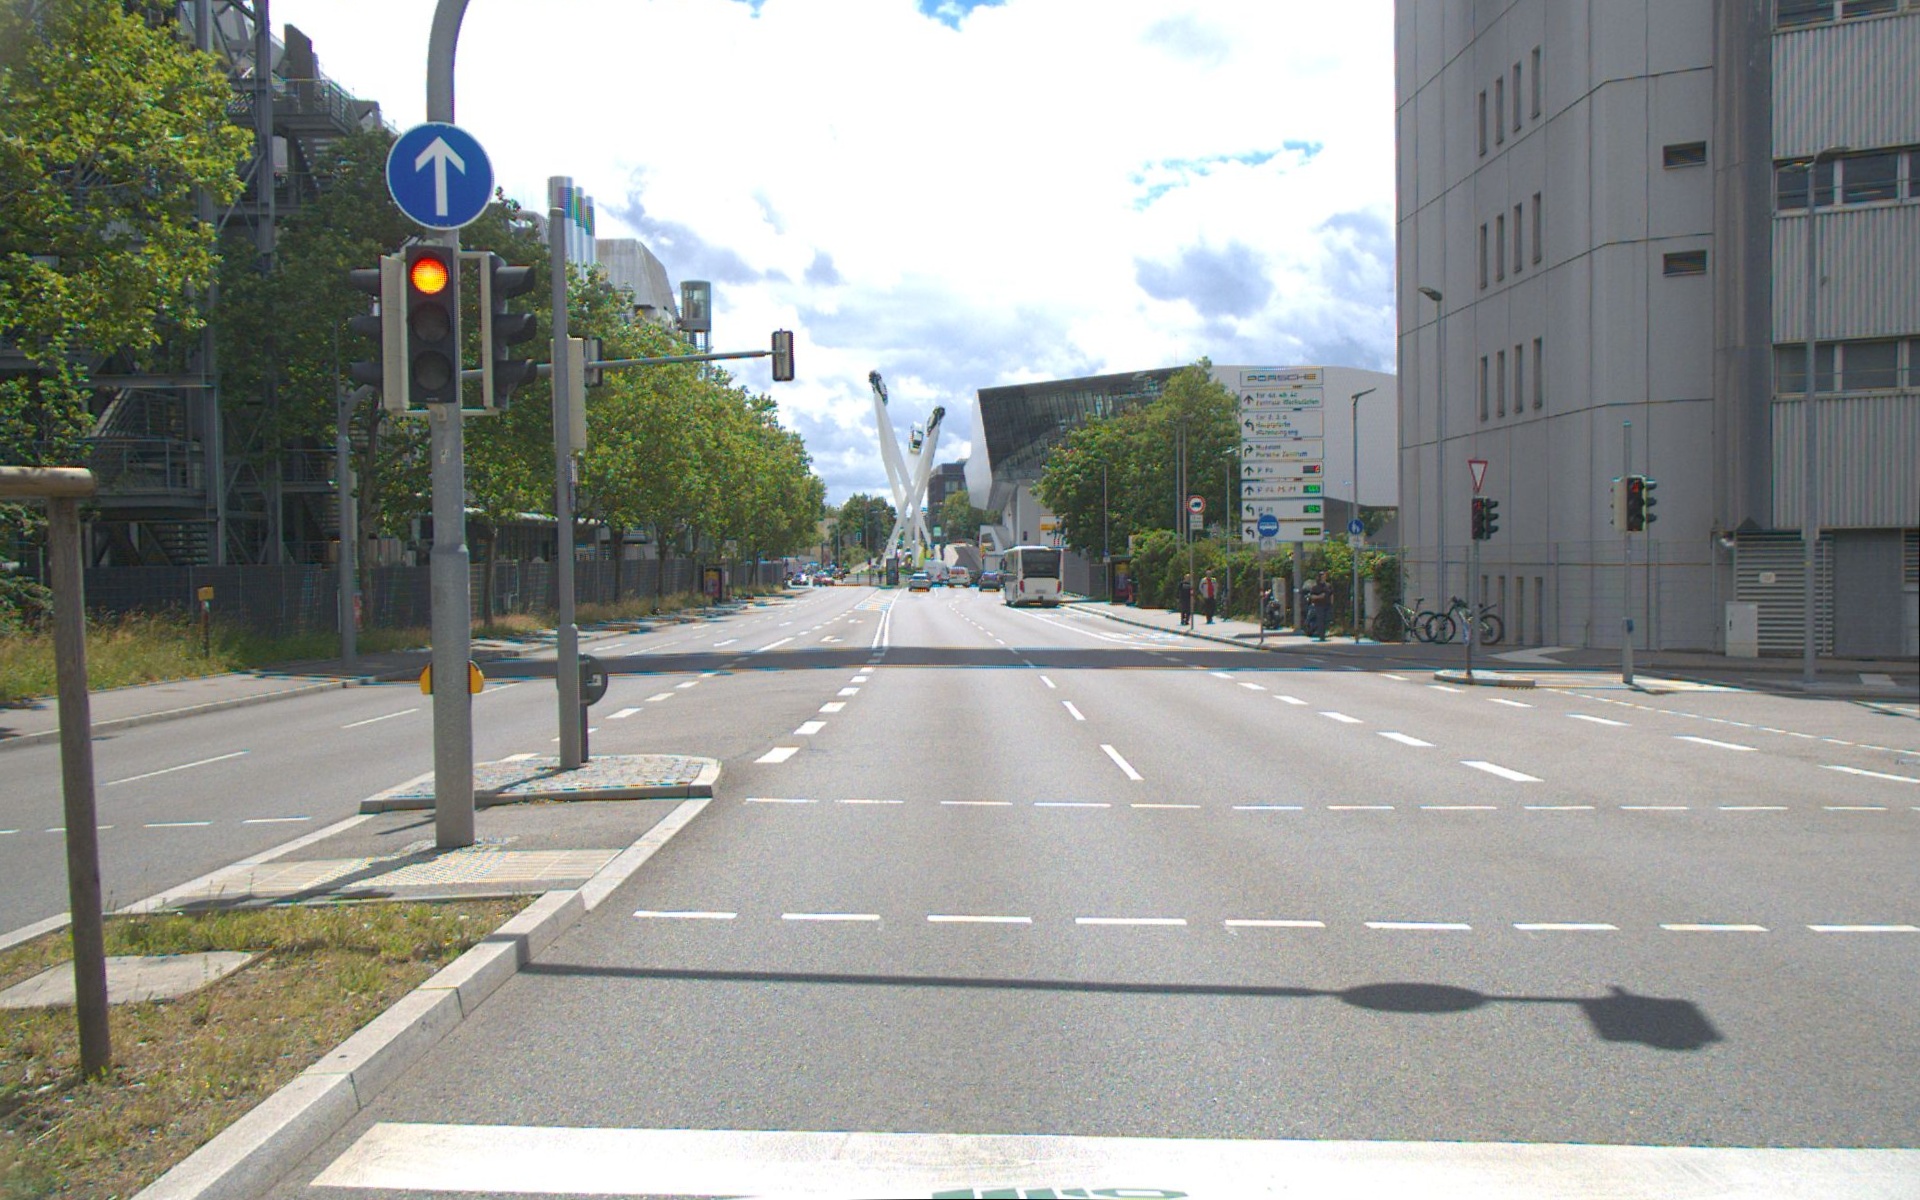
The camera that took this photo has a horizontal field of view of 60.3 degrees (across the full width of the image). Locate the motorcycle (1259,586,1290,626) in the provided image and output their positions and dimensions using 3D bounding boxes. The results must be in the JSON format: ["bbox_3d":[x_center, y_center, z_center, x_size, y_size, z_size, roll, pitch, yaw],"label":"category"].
[{"bbox_3d":[10.057,0.176,52.900,0.562,1.224,2.024,-2,1,-1],"label":"motorcycle"}]

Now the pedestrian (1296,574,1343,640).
[{"bbox_3d":[9.231,0.175,42.458,0.834,1.653,0.951,0,0,40],"label":"pedestrian"}]

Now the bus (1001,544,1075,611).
[{"bbox_3d":[4.326,-1.235,94.499,3.383,3.605,10.602,0,0,-2],"label":"bus"}]

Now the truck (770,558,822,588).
[{"bbox_3d":[-23.222,-3.837,234.315,7.005,3.962,2.453,2,-1,-38],"label":"truck"}]

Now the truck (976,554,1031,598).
[{"bbox_3d":[4.569,-2.473,171.745,3.379,4.468,9.426,0,0,17],"label":"truck"}]

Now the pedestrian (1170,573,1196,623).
[{"bbox_3d":[7.804,-0.072,57.883,0.803,1.737,0.881,0,0,-1],"label":"pedestrian"}]

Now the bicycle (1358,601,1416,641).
[{"bbox_3d":[10.608,0.504,41.127,0.391,0.953,1.917,0,0,-19],"label":"bicycle"}]

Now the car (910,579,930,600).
[{"bbox_3d":[-3.432,-0.929,141.530,1.703,1.772,3.691,0,0,-1],"label":"car"}]

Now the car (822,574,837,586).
[{"bbox_3d":[-17.876,-2.686,226.892,1.782,1.564,3.678,-2,0,-1],"label":"car"}]

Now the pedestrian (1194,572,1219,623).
[{"bbox_3d":[8.642,-0.090,58.015,0.803,1.772,0.637,0,0,-1],"label":"pedestrian"}]

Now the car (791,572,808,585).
[{"bbox_3d":[-20.321,-2.675,209.741,1.782,1.564,3.678,-2,0,-1],"label":"car"}]

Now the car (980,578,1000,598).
[{"bbox_3d":[2.637,-1.088,146.270,1.703,1.772,3.691,0,0,-1],"label":"car"}]

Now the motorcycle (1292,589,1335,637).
[{"bbox_3d":[9.611,0.330,45.034,0.692,1.224,2.024,-2,1,-1],"label":"motorcycle"}]

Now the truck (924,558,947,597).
[{"bbox_3d":[-2.554,-2.290,172.094,2.343,3.965,6.176,0,0,-1],"label":"truck"}]

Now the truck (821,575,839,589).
[{"bbox_3d":[-14.811,-2.036,187.935,1.556,1.564,3.666,0,0,-13],"label":"truck"}]

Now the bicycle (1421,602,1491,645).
[{"bbox_3d":[11.642,0.540,38.855,0.392,0.953,1.912,0,0,-26],"label":"bicycle"}]

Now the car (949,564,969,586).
[{"bbox_3d":[-0.088,-2.443,165.430,1.952,2.049,4.000,1,-1,1],"label":"car"}]
